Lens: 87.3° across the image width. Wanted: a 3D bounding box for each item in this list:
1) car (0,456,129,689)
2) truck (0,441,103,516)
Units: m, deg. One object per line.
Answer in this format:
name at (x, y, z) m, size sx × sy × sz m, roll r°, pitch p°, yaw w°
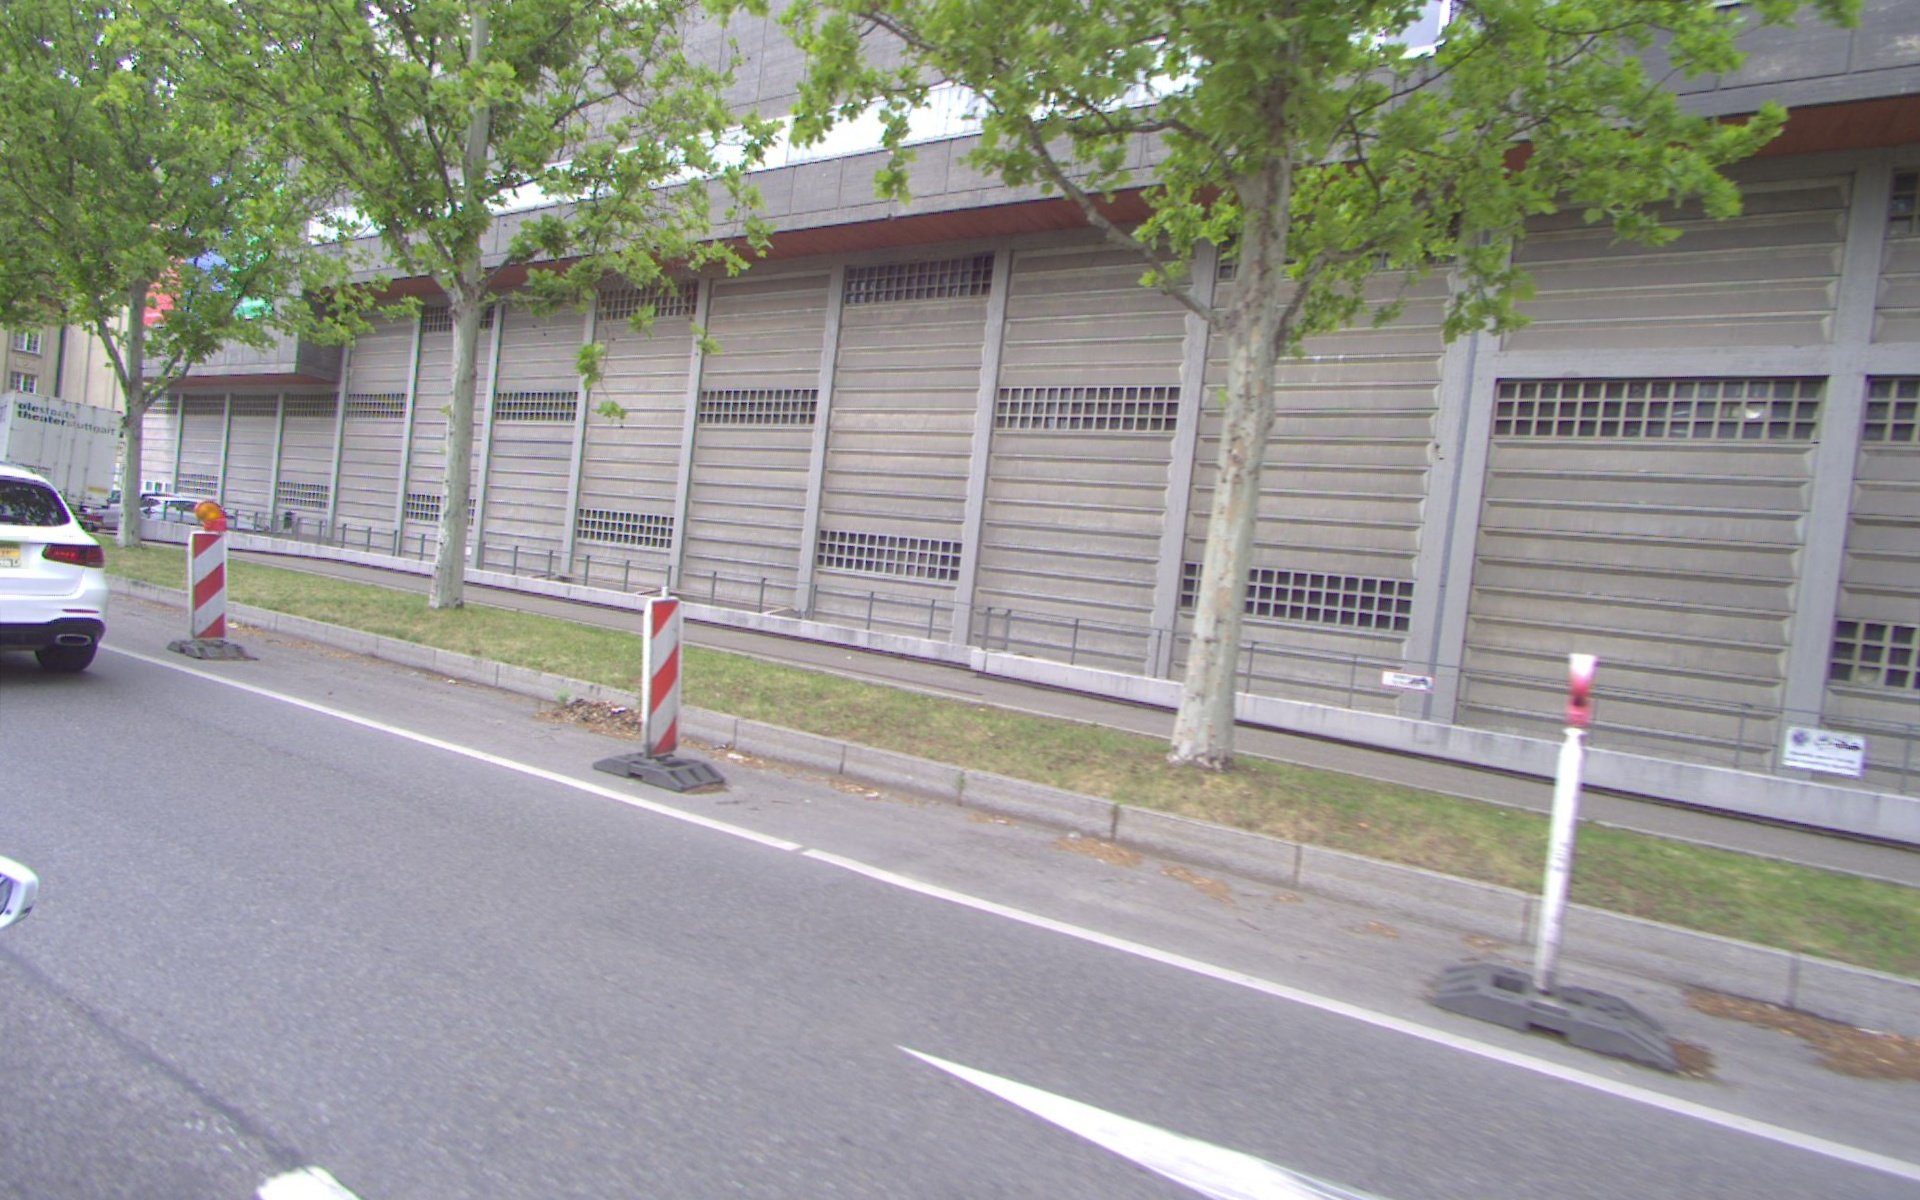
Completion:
car at (-8.846, -0.425, 8.183) m, size 4.475 × 1.665 × 1.811 m, roll 7°, pitch 4°, yaw 31°
truck at (-47.478, -6.188, 47.686) m, size 2.526 × 3.089 × 10.039 m, roll 6°, pitch 0°, yaw 31°
